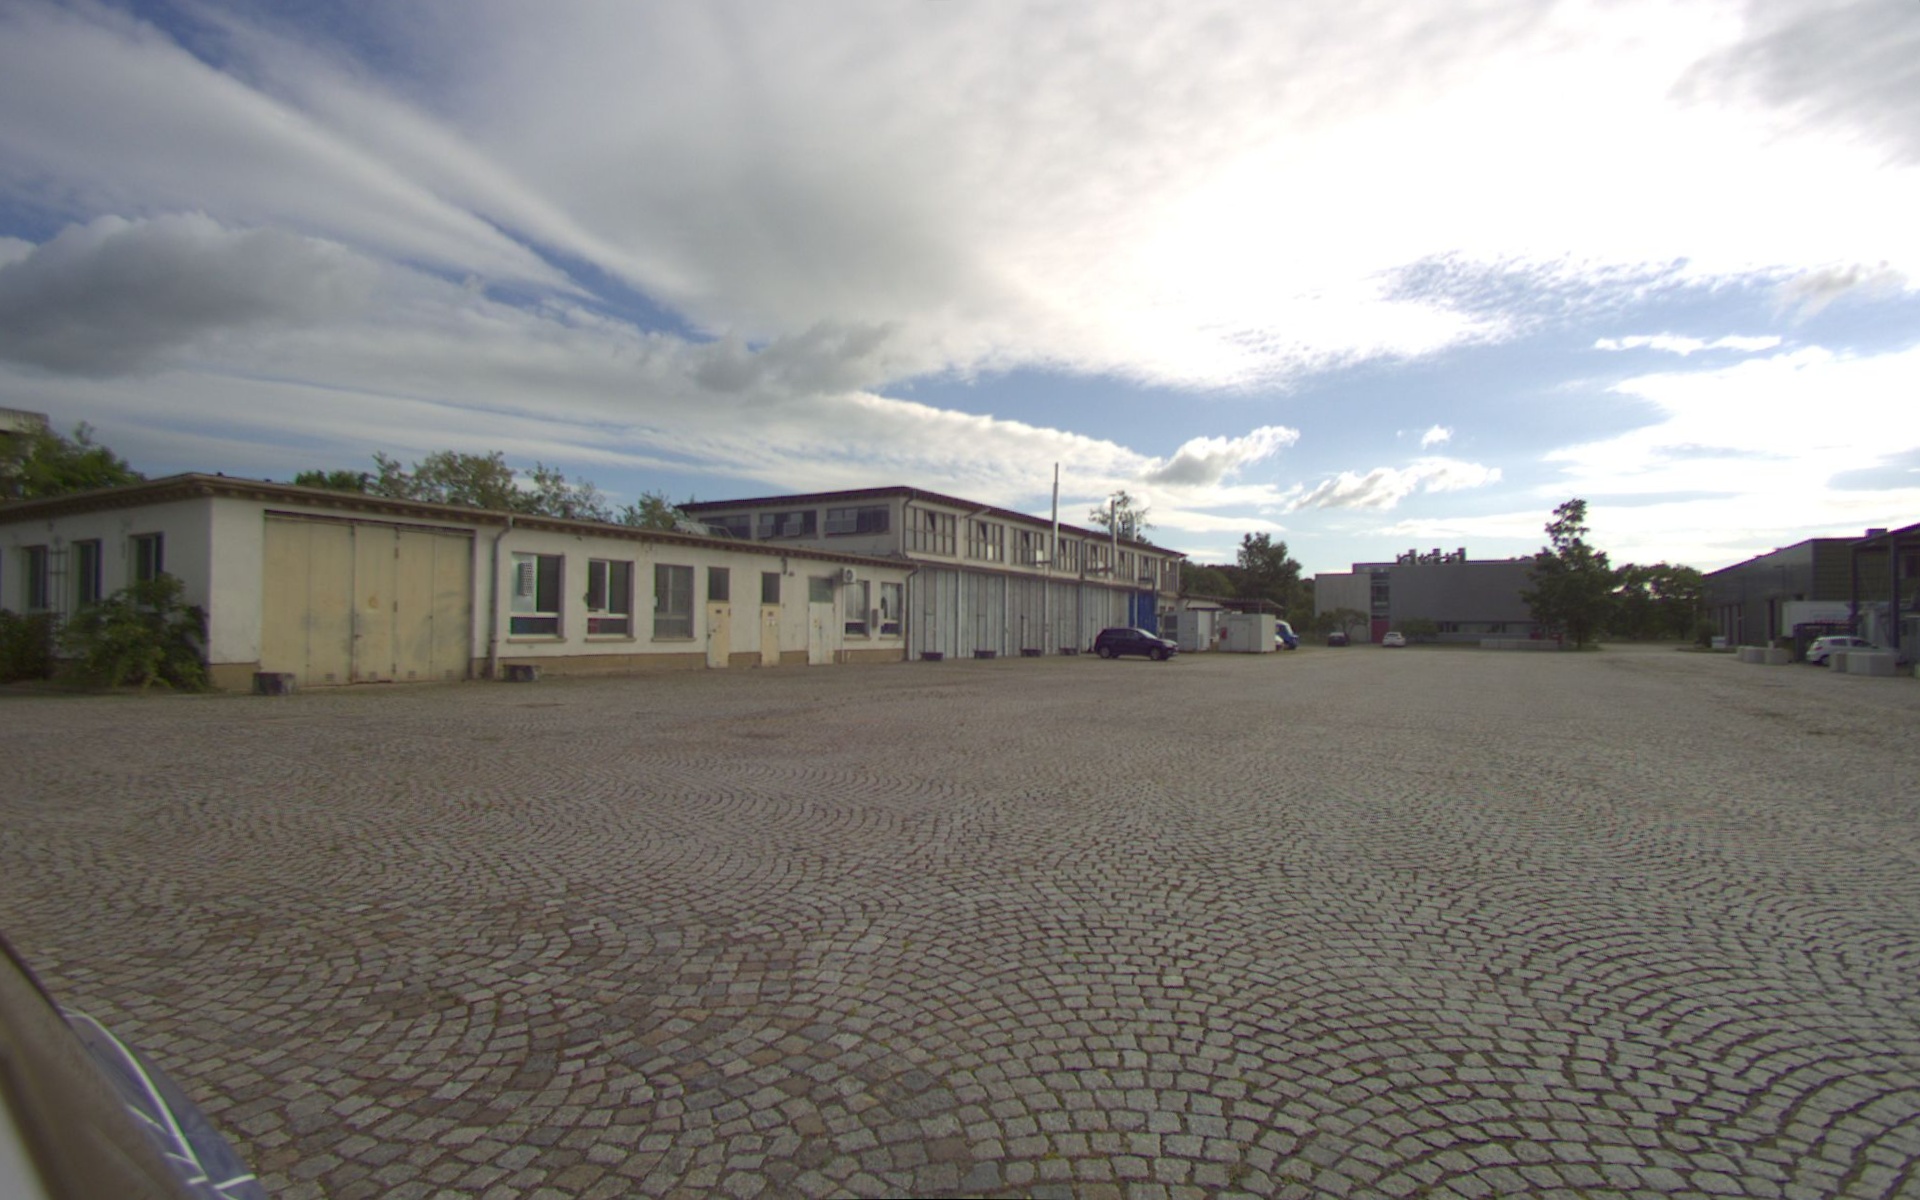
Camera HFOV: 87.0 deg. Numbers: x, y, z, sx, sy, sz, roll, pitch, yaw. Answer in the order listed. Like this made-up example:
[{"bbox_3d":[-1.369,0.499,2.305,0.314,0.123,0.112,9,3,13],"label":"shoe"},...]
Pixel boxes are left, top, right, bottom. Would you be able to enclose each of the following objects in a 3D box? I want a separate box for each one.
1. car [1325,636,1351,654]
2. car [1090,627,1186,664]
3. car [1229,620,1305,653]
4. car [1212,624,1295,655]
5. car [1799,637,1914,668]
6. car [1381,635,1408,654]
[{"bbox_3d":[38.355,4.557,102.667,1.991,1.824,3.961,-1,-2,29],"label":"car"},{"bbox_3d":[9.071,2.324,51.660,4.417,1.770,1.980,-1,-5,29],"label":"car"},{"bbox_3d":[25.412,3.034,83.807,5.606,2.635,2.428,-1,-3,29],"label":"car"},{"bbox_3d":[21.982,2.922,75.934,5.606,2.236,2.428,-1,-2,29],"label":"car"},{"bbox_3d":[45.565,2.627,51.574,3.982,1.503,1.980,-1,-2,29],"label":"car"},{"bbox_3d":[43.131,4.375,100.426,2.145,1.824,3.961,-1,-2,29],"label":"car"}]
